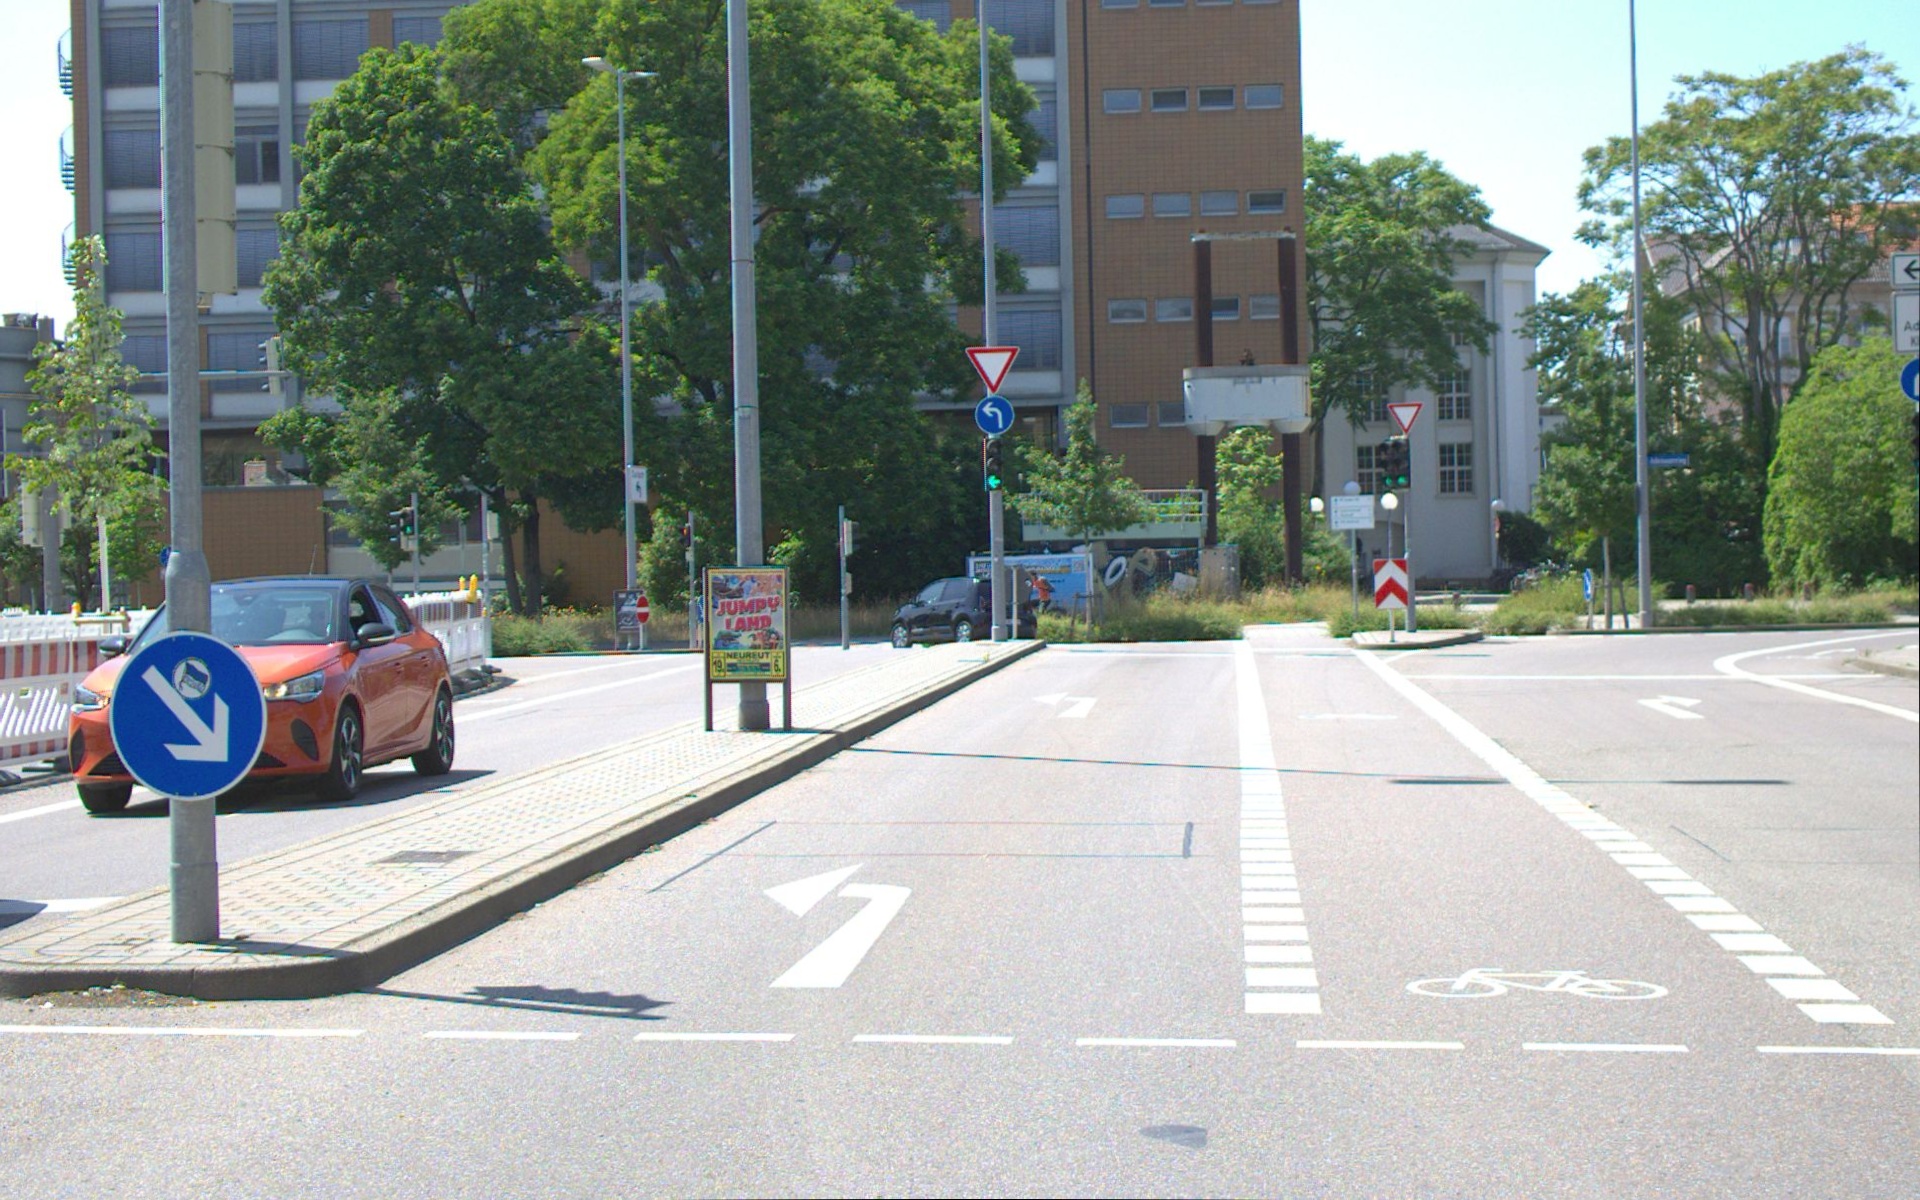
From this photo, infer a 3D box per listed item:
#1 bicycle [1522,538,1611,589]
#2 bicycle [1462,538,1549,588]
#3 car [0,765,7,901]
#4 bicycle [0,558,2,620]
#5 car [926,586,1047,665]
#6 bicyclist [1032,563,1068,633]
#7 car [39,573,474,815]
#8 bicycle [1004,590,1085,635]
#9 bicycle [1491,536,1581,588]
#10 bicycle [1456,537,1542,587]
[{"bbox_3d":[24.465,-1.491,138.769,3.448,2.007,0.760,1,0,7],"label":"bicycle"},{"bbox_3d":[22.267,-1.524,140.488,3.448,2.007,0.760,1,0,7],"label":"bicycle"},{"bbox_3d":[-5.291,0.697,13.140,1.816,1.423,4.427,-3,1,3],"label":"car"},{"bbox_3d":[-19.153,-0.175,65.307,1.894,1.176,0.524,-2,0,22],"label":"bicycle"},{"bbox_3d":[0.510,0.505,70.828,1.613,1.547,3.776,1,1,-14],"label":"car"},{"bbox_3d":[2.246,-0.046,85.515,0.701,1.710,0.551,-1,2,-27],"label":"bicyclist"},{"bbox_3d":[-4.532,0.556,22.743,1.688,1.373,4.013,-3,0,5],"label":"car"},{"bbox_3d":[2.106,0.301,85.436,1.990,1.042,0.559,-2,2,-27],"label":"bicycle"},{"bbox_3d":[23.006,-1.514,137.364,3.448,2.007,0.760,1,0,7],"label":"bicycle"},{"bbox_3d":[22.469,-1.585,143.362,3.448,2.007,0.760,1,0,7],"label":"bicycle"}]
